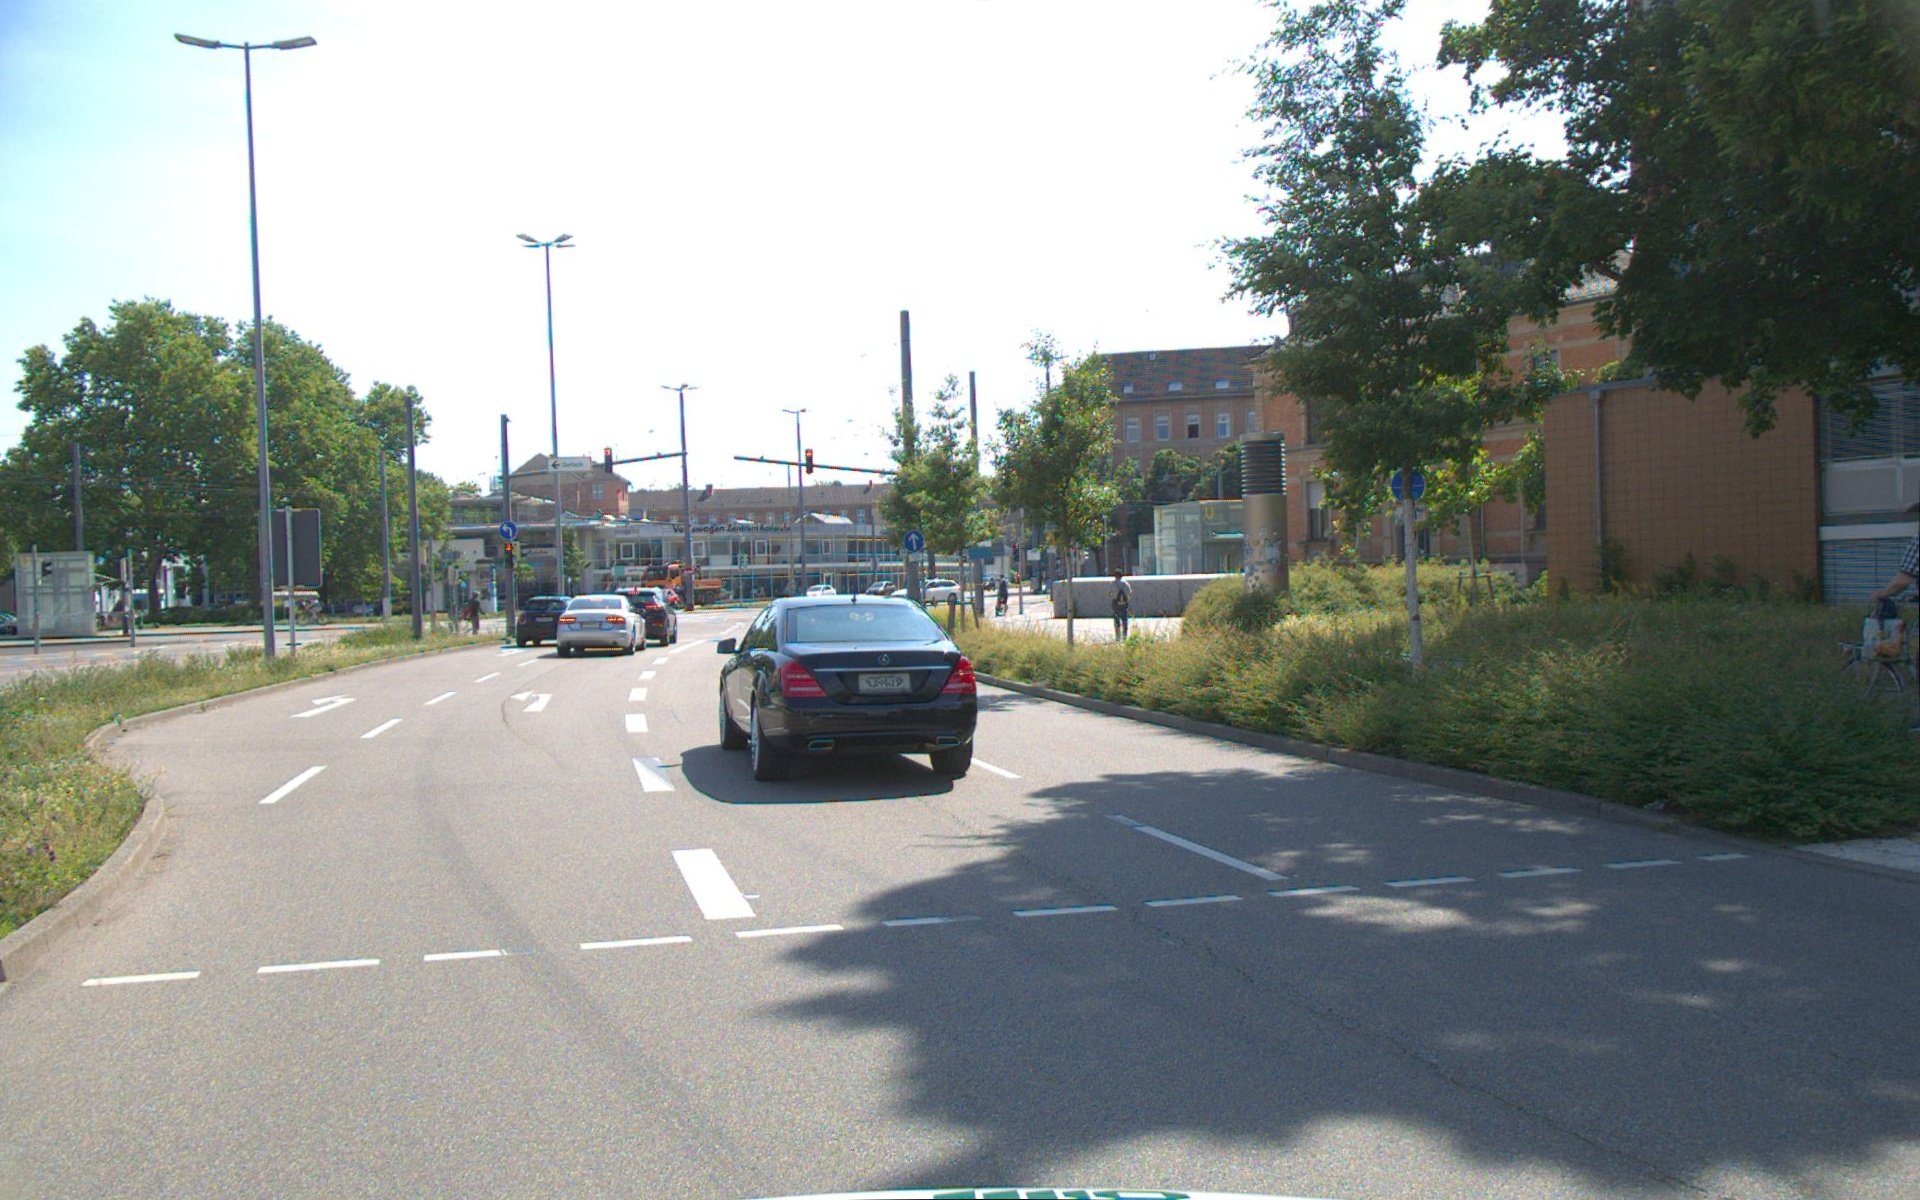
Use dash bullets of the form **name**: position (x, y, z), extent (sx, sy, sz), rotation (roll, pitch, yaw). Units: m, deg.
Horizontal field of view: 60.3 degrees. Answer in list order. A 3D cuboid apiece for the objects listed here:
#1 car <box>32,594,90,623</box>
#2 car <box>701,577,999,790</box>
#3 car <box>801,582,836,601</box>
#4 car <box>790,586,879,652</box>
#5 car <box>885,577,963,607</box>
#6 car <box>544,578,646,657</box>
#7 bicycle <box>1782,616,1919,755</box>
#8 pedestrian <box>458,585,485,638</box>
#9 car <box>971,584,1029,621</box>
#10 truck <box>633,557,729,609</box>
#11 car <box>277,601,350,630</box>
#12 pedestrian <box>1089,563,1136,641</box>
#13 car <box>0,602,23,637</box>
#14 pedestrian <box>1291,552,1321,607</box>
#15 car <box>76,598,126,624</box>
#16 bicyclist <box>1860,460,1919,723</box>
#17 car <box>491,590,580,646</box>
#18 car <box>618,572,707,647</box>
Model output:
- **car**: position (-71.007, 0.687, 130.614), extent (3.944, 2.048, 1.981), rotation (-2, 3, -29)
- **car**: position (-1.186, 0.668, 15.082), extent (1.828, 1.557, 4.695), rotation (-2, 0, -15)
- **car**: position (-12.376, -0.751, 145.017), extent (1.756, 1.536, 4.003), rotation (-2, 1, 16)
- **car**: position (-3.168, 0.441, 41.087), extent (1.762, 1.536, 3.989), rotation (-1, 0, -11)
- **car**: position (-2.049, -0.455, 94.655), extent (4.232, 1.536, 1.776), rotation (-2, 1, -38)
- **car**: position (-9.161, 0.402, 41.829), extent (1.955, 1.847, 3.996), rotation (-2, 1, -5)
- **bicycle**: position (7.229, 0.625, 12.366), extent (0.683, 0.962, 1.946), rotation (-5, 1, -21)
- **pedestrian**: position (-16.028, 0.370, 54.325), extent (0.635, 1.690, 0.663), rotation (-2, 0, 0)
- **car**: position (1.834, 0.098, 74.296), extent (1.756, 1.536, 4.281), rotation (-2, 1, 13)
- **truck**: position (-21.478, -1.392, 127.702), extent (3.005, 3.795, 7.919), rotation (-2, 1, 28)
- **car**: position (-37.744, 0.892, 96.592), extent (3.933, 1.536, 1.787), rotation (-2, 0, -23)
- **pedestrian**: position (3.523, 0.037, 38.322), extent (0.855, 1.755, 0.798), rotation (-2, 0, -11)
- **car**: position (-61.476, 1.276, 104.404), extent (3.944, 2.048, 1.981), rotation (-2, 3, -29)
- **pedestrian**: position (10.921, -0.648, 52.184), extent (0.640, 1.690, 0.645), rotation (-2, 0, -25)
- **car**: position (-77.958, 0.987, 150.143), extent (3.944, 2.048, 1.981), rotation (-2, 3, -29)
- **bicyclist**: position (7.274, -0.071, 12.183), extent (0.676, 1.911, 0.855), rotation (-2, 0, -20)
- **car**: position (-12.584, 0.505, 49.237), extent (1.758, 1.536, 3.998), rotation (-2, 1, -3)
- **car**: position (-8.631, 0.243, 48.281), extent (1.954, 2.049, 3.998), rotation (-2, 1, -2)
